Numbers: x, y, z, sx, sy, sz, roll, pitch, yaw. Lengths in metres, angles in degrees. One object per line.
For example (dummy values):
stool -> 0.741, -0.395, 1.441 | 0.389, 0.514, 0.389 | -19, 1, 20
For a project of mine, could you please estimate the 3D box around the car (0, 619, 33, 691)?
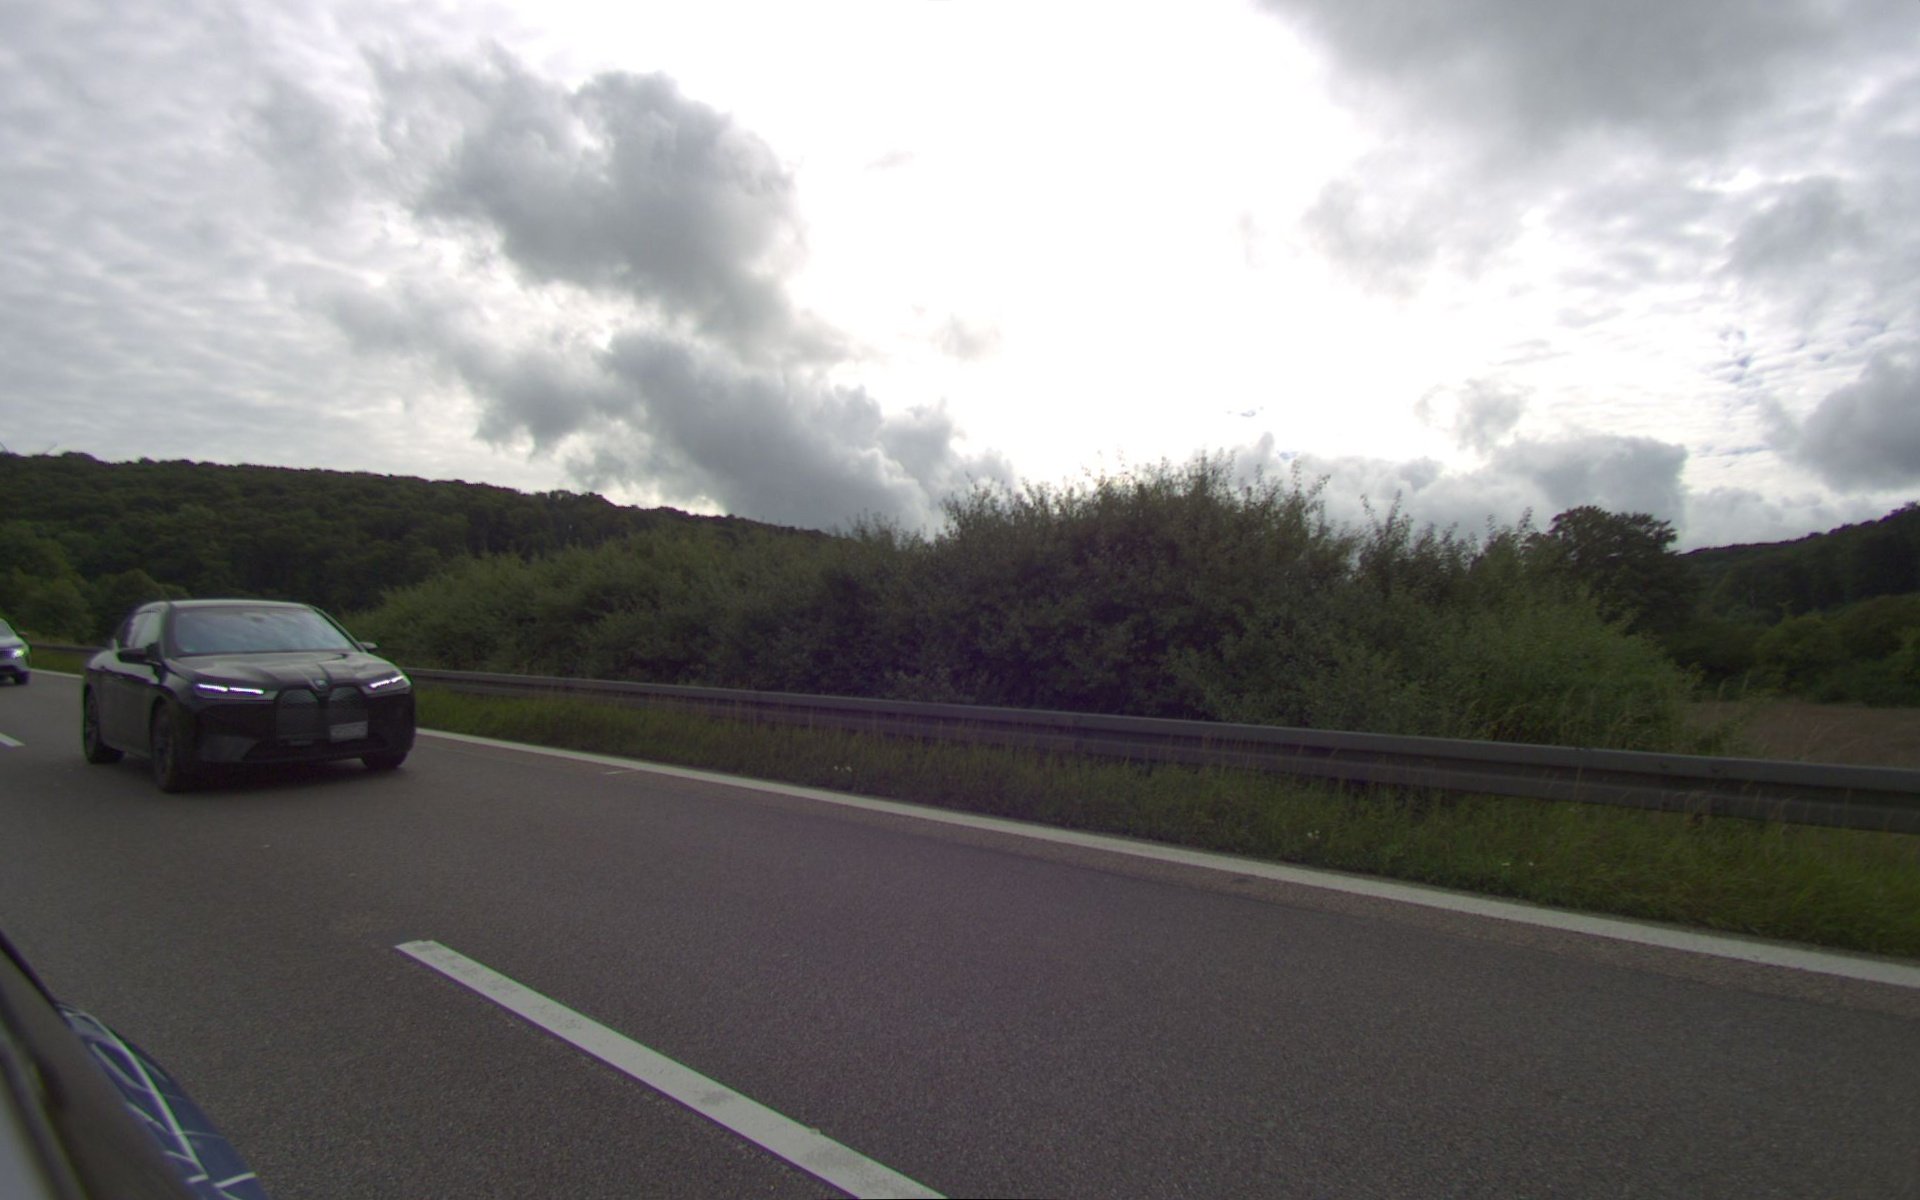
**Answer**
car -> -24.145, 1.305, 24.420 | 4.410, 1.678, 1.974 | -1, -2, 39

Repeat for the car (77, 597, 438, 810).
car -> -7.210, 0.873, 10.208 | 4.412, 1.678, 1.973 | -2, -2, 41
